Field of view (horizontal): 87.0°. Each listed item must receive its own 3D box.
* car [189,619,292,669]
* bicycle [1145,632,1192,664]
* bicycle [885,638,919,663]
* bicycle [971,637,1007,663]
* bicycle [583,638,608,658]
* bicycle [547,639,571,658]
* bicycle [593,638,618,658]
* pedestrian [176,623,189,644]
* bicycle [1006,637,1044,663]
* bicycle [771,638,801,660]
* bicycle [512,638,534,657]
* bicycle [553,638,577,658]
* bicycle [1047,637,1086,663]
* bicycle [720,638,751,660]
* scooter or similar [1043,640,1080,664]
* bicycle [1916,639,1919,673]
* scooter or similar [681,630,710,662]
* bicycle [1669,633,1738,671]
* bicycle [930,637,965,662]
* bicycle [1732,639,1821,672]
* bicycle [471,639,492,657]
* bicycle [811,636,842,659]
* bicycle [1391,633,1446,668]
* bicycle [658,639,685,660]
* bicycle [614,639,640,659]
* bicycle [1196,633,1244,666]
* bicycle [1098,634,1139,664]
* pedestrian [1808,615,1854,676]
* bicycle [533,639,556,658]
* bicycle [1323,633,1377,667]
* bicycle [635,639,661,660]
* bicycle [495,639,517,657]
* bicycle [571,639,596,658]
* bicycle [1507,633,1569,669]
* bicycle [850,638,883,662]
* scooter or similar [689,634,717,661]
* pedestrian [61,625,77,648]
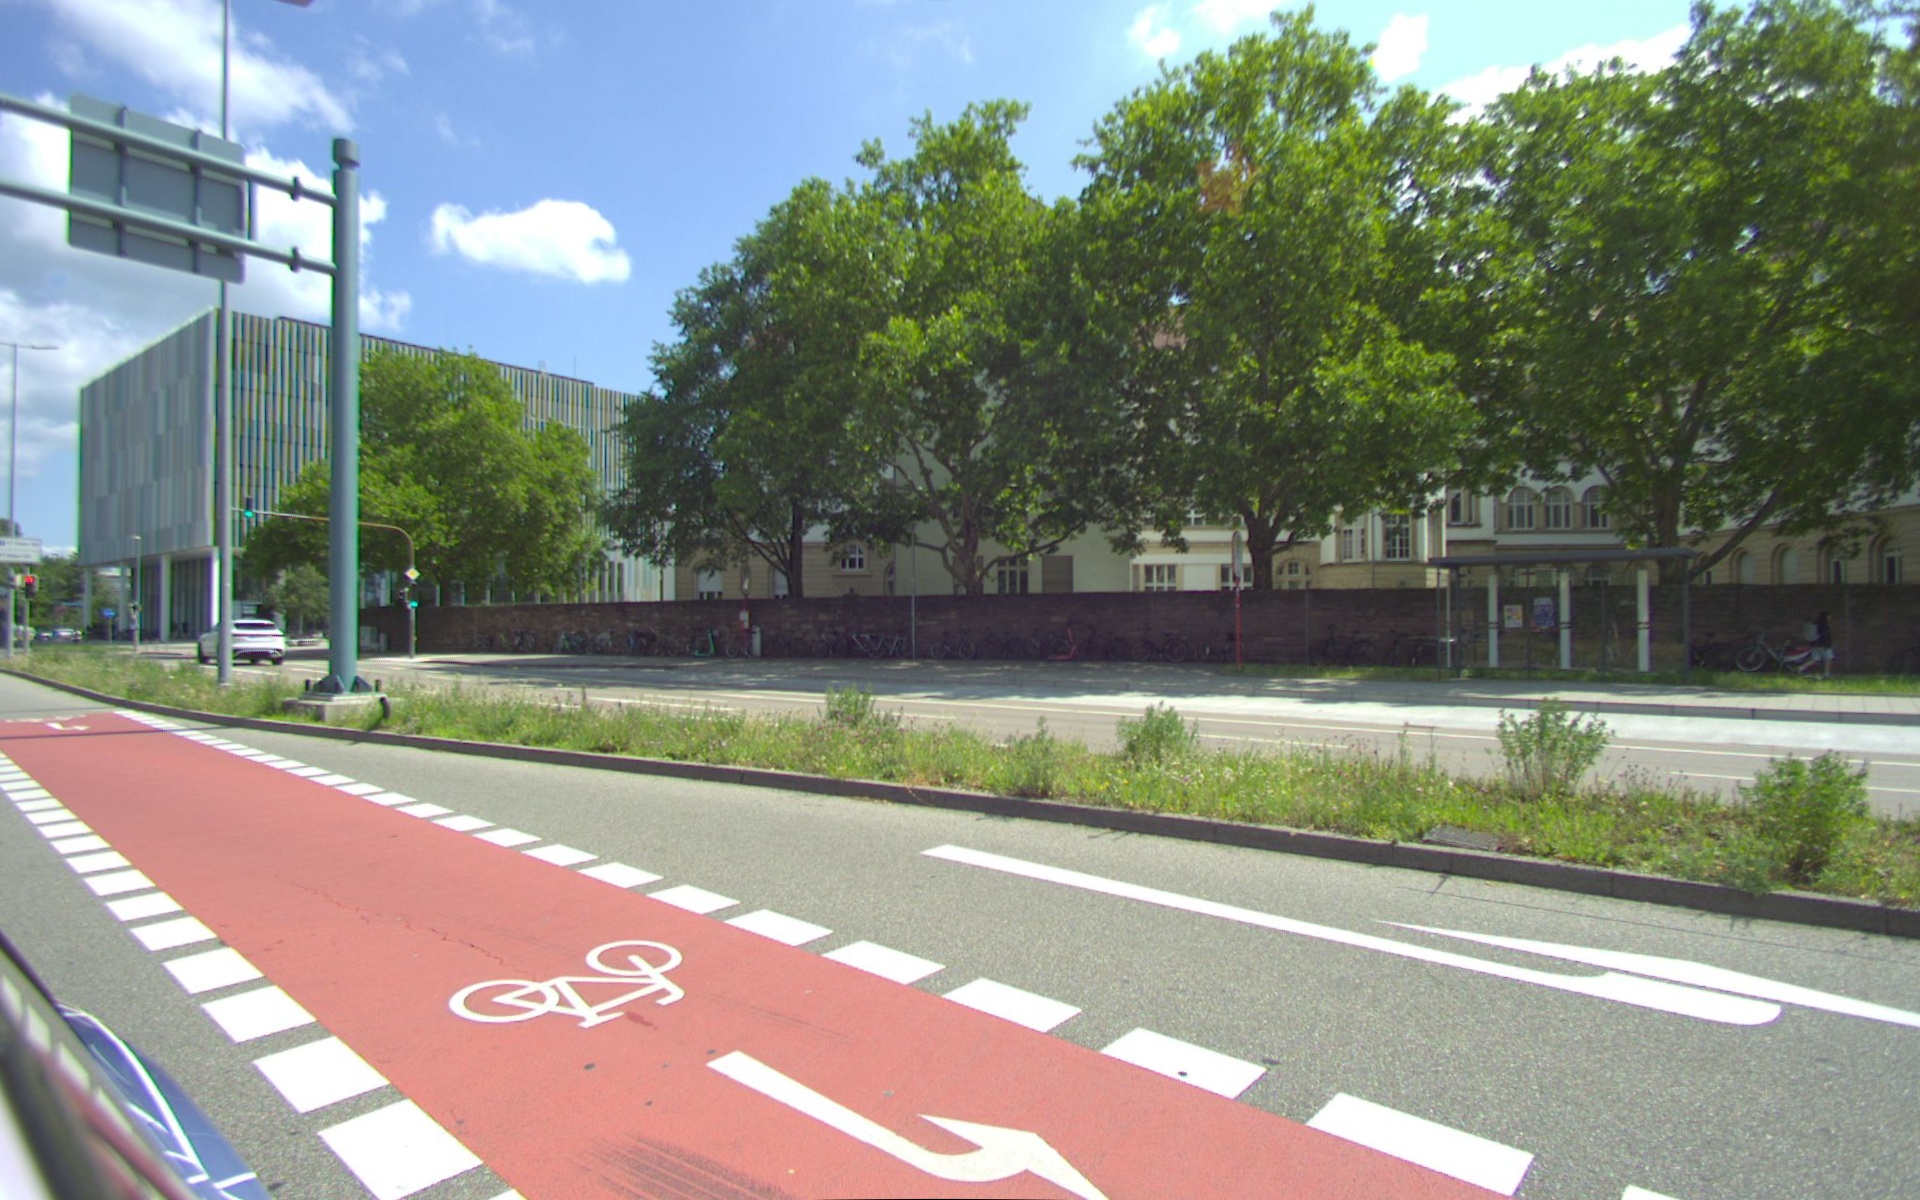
[{"bbox_3d":[-26.263,1.579,36.885,4.508,1.724,1.973,-2,-2,40],"label":"car"},{"bbox_3d":[6.402,1.482,31.038,1.385,0.972,0.263,-1,-2,20],"label":"bicycle"},{"bbox_3d":[-2.013,1.756,35.118,1.231,0.837,0.262,-1,-2,30],"label":"bicycle"},{"bbox_3d":[0.962,1.658,33.720,1.230,0.837,0.262,-1,-2,28],"label":"bicycle"},{"bbox_3d":[-15.329,2.008,42.557,1.230,0.837,0.262,-1,-2,29],"label":"bicycle"},{"bbox_3d":[-17.454,2.100,44.014,1.230,0.837,0.262,-1,-2,29],"label":"bicycle"},{"bbox_3d":[-15.009,2.021,42.896,1.231,0.837,0.262,-1,-2,30],"label":"bicycle"},{"bbox_3d":[-76.598,3.304,99.684,0.994,2.029,0.853,-2,-2,40],"label":"pedestrian"},{"bbox_3d":[2.134,1.616,33.071,1.230,0.837,0.262,-1,-2,28],"label":"bicycle"},{"bbox_3d":[-6.468,1.815,37.567,1.231,0.837,0.262,-1,-2,30],"label":"bicycle"},{"bbox_3d":[-19.959,2.162,46.220,1.230,0.837,0.262,-1,-2,29],"label":"bicycle"},{"bbox_3d":[-17.404,2.115,44.560,1.230,0.837,0.262,-1,-2,29],"label":"bicycle"},{"bbox_3d":[3.411,1.599,32.459,1.230,0.837,0.262,-1,-2,28],"label":"bicycle"},{"bbox_3d":[-8.644,1.890,38.951,1.226,0.837,0.263,-1,-2,19],"label":"bicycle"},{"bbox_3d":[3.180,1.634,31.810,1.132,0.734,0.264,-1,-2,17],"label":"scooter or similar"},{"bbox_3d":[24.443,1.366,24.605,1.734,0.823,0.382,-1,-2,18],"label":"bicycle"},{"bbox_3d":[-10.189,1.765,38.963,1.230,1.199,0.262,-1,-2,29],"label":"scooter or similar"},{"bbox_3d":[19.235,1.354,26.197,1.384,0.972,0.263,-1,-2,18],"label":"bicycle"},{"bbox_3d":[-0.430,1.678,34.279,1.230,0.837,0.262,-1,-2,28],"label":"bicycle"},{"bbox_3d":[20.747,1.414,25.724,1.734,0.823,0.327,-1,-2,18],"label":"bicycle"},{"bbox_3d":[-22.690,2.263,47.959,1.231,0.837,0.262,-1,-2,30],"label":"bicycle"},{"bbox_3d":[-4.876,1.718,36.881,1.231,0.837,0.262,-1,-2,30],"label":"bicycle"},{"bbox_3d":[12.866,1.412,28.421,1.384,0.972,0.263,-1,-2,18],"label":"bicycle"},{"bbox_3d":[-11.566,1.971,40.581,1.231,0.837,0.262,-1,-2,30],"label":"bicycle"},{"bbox_3d":[-13.891,2.031,42.205,1.231,0.837,0.262,-1,-2,30],"label":"bicycle"},{"bbox_3d":[7.809,1.476,30.418,1.389,0.972,0.262,-1,-2,28],"label":"bicycle"},{"bbox_3d":[4.955,1.529,31.613,1.230,0.915,0.262,-1,-2,28],"label":"bicycle"},{"bbox_3d":[20.565,1.060,23.920,0.726,1.405,0.712,-2,-2,36],"label":"pedestrian"},{"bbox_3d":[-18.593,2.166,45.310,1.230,0.837,0.262,-1,-2,29],"label":"bicycle"},{"bbox_3d":[11.181,1.433,29.035,1.384,0.972,0.263,-1,-2,18],"label":"bicycle"},{"bbox_3d":[-12.801,2.012,41.496,1.231,0.837,0.262,-1,-2,30],"label":"bicycle"},{"bbox_3d":[-21.069,2.216,46.991,1.231,0.837,0.262,-1,-2,30],"label":"bicycle"},{"bbox_3d":[-16.265,2.086,43.726,1.231,0.837,0.262,-1,-2,30],"label":"bicycle"},{"bbox_3d":[15.633,1.376,27.391,1.384,0.972,0.263,-1,-2,18],"label":"bicycle"},{"bbox_3d":[-3.325,1.758,35.903,1.231,0.837,0.262,-1,-2,30],"label":"bicycle"},{"bbox_3d":[-10.142,1.873,39.920,1.133,1.028,0.264,-1,-2,19],"label":"scooter or similar"},{"bbox_3d":[-78.865,3.235,89.591,0.994,2.029,0.853,-2,-2,39],"label":"pedestrian"}]
